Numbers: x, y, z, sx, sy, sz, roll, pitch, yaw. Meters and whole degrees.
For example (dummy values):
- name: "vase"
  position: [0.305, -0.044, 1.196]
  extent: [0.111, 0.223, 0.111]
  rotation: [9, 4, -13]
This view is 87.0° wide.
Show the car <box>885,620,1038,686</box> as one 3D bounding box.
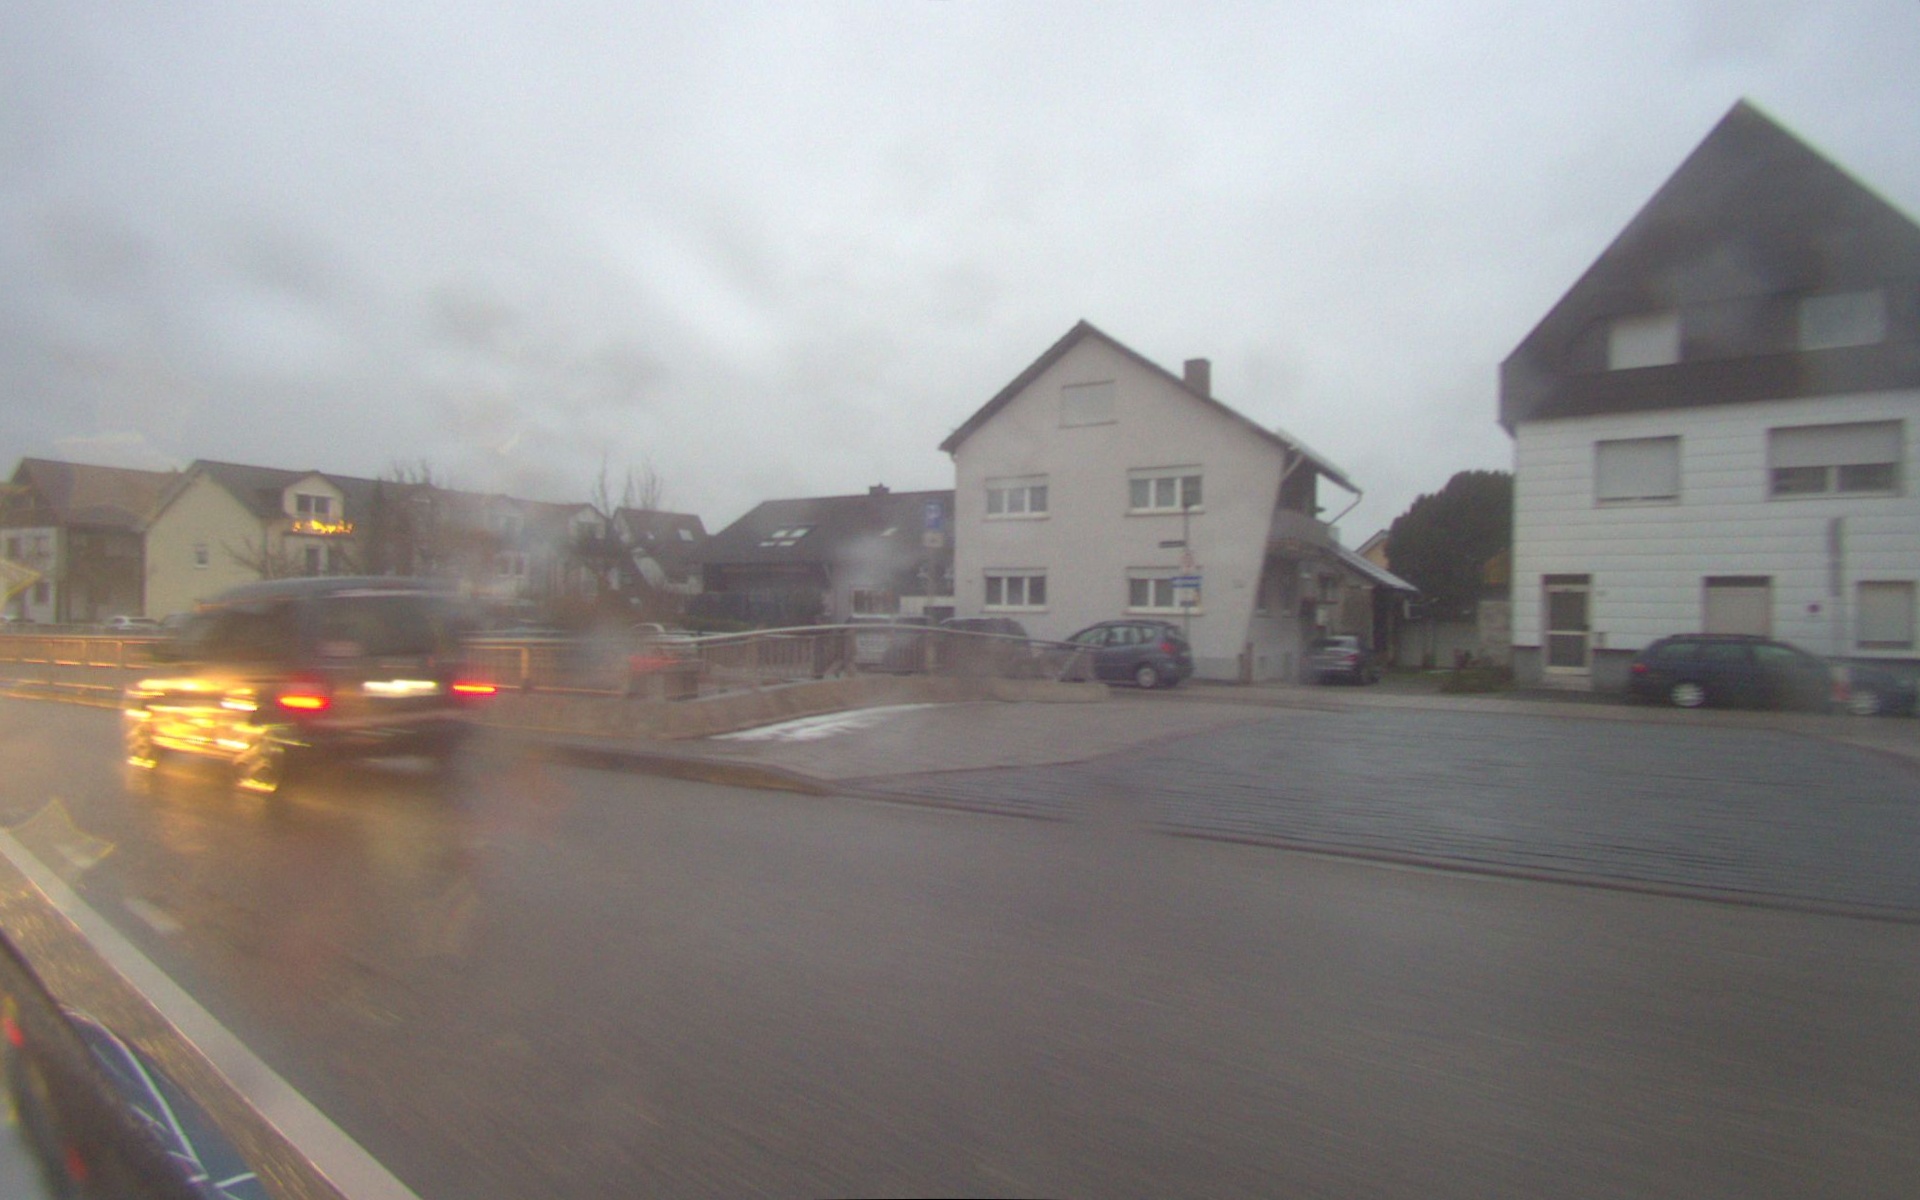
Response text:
- name: "car"
  position: [0.013, 1.409, 27.935]
  extent: [3.944, 1.673, 1.687]
  rotation: [-1, -1, 30]

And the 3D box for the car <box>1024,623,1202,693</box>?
- name: "car"
  position: [3.811, 1.392, 25.481]
  extent: [4.082, 1.581, 1.760]
  rotation: [-1, -1, 33]

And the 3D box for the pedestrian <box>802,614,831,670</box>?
- name: "pedestrian"
  position: [-3.389, 0.986, 23.886]
  extent: [0.594, 1.312, 0.511]
  rotation: [0, -1, 2]

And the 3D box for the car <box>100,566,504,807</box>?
- name: "car"
  position: [-6.282, 0.705, 9.527]
  extent: [4.124, 1.826, 1.705]
  rotation: [-2, -1, 34]

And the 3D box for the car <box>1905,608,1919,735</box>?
- name: "car"
  position: [14.287, 0.880, 12.107]
  extent: [3.955, 1.644, 1.760]
  rotation: [0, -3, 9]

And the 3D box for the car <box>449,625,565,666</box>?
- name: "car"
  position: [-17.454, 1.723, 38.969]
  extent: [4.235, 1.480, 1.784]
  rotation: [0, -2, 26]

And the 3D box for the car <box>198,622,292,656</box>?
- name: "car"
  position: [-33.437, 1.799, 47.307]
  extent: [4.235, 1.480, 1.784]
  rotation: [0, -2, 26]

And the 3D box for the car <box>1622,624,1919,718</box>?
- name: "car"
  position: [15.719, 1.312, 19.819]
  extent: [4.418, 1.511, 1.893]
  rotation: [-2, 2, 39]

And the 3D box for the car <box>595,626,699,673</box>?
- name: "car"
  position: [-10.808, 1.661, 34.892]
  extent: [3.489, 1.520, 1.464]
  rotation: [-1, -2, 30]

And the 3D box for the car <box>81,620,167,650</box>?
- name: "car"
  position: [-42.922, 1.803, 51.976]
  extent: [3.990, 1.480, 1.663]
  rotation: [-1, -4, 22]

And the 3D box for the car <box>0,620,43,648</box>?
- name: "car"
  position: [-53.946, 1.891, 56.856]
  extent: [4.585, 1.480, 1.787]
  rotation: [0, -2, 22]

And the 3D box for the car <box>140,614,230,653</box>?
- name: "car"
  position: [-37.896, 1.594, 49.472]
  extent: [4.234, 1.841, 1.784]
  rotation: [0, -2, 26]

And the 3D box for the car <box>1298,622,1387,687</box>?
- name: "car"
  position: [11.247, 1.611, 29.610]
  extent: [1.712, 1.695, 3.957]
  rotation: [1, -3, 32]

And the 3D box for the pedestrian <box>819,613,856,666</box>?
- name: "pedestrian"
  position: [-2.968, 0.949, 24.550]
  extent: [0.601, 1.259, 0.685]
  rotation: [-1, -1, 35]

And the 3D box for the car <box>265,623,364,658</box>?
- name: "car"
  position: [-28.560, 1.756, 44.767]
  extent: [4.235, 1.480, 1.784]
  rotation: [0, -2, 26]
